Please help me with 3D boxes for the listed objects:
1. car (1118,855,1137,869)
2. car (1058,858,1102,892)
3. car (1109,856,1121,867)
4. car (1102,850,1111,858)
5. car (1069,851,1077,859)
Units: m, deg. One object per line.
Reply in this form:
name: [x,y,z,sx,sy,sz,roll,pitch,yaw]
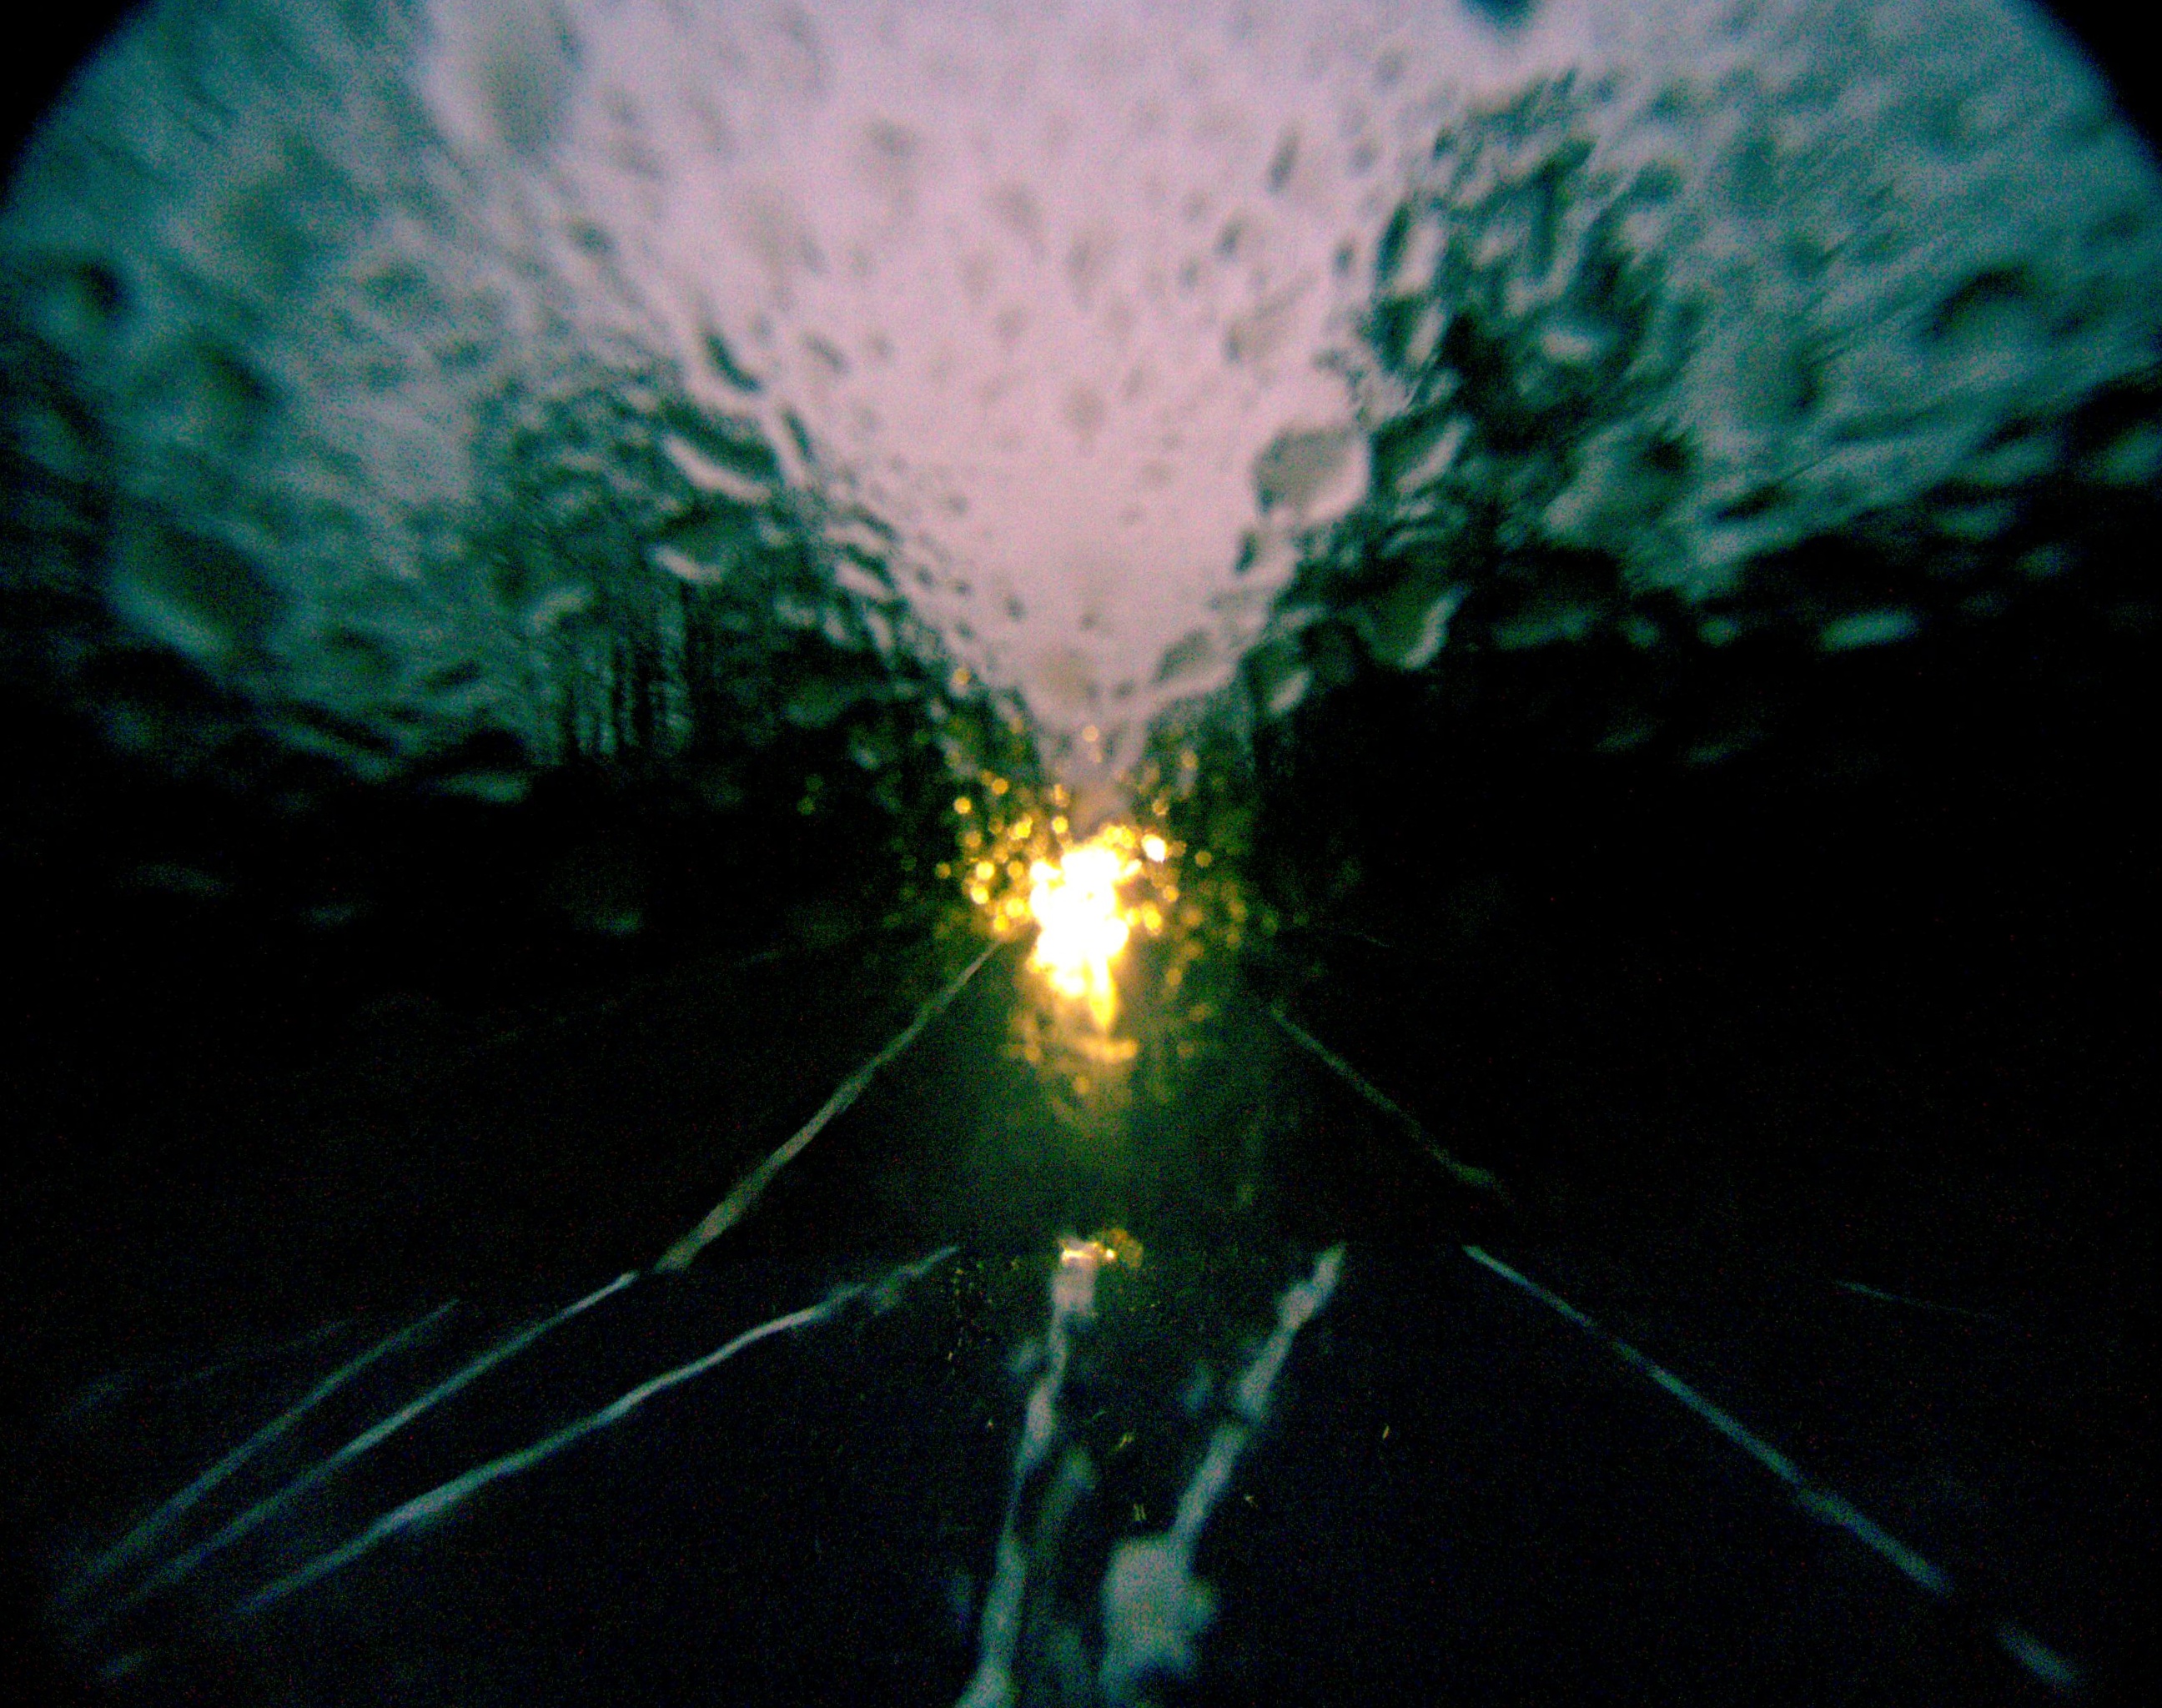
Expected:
car: [4.728,0.795,77.774,1.708,1.355,4.376,-1,0,0]
car: [0.012,0.901,34.403,1.845,1.390,4.000,0,0,1]
car: [4.858,1.065,109.131,1.517,1.405,3.660,1,0,1]
car: [6.451,-0.062,194.656,1.998,2.002,3.999,-2,1,0]
car: [-2.033,0.307,192.961,1.998,2.002,3.999,-2,1,0]
